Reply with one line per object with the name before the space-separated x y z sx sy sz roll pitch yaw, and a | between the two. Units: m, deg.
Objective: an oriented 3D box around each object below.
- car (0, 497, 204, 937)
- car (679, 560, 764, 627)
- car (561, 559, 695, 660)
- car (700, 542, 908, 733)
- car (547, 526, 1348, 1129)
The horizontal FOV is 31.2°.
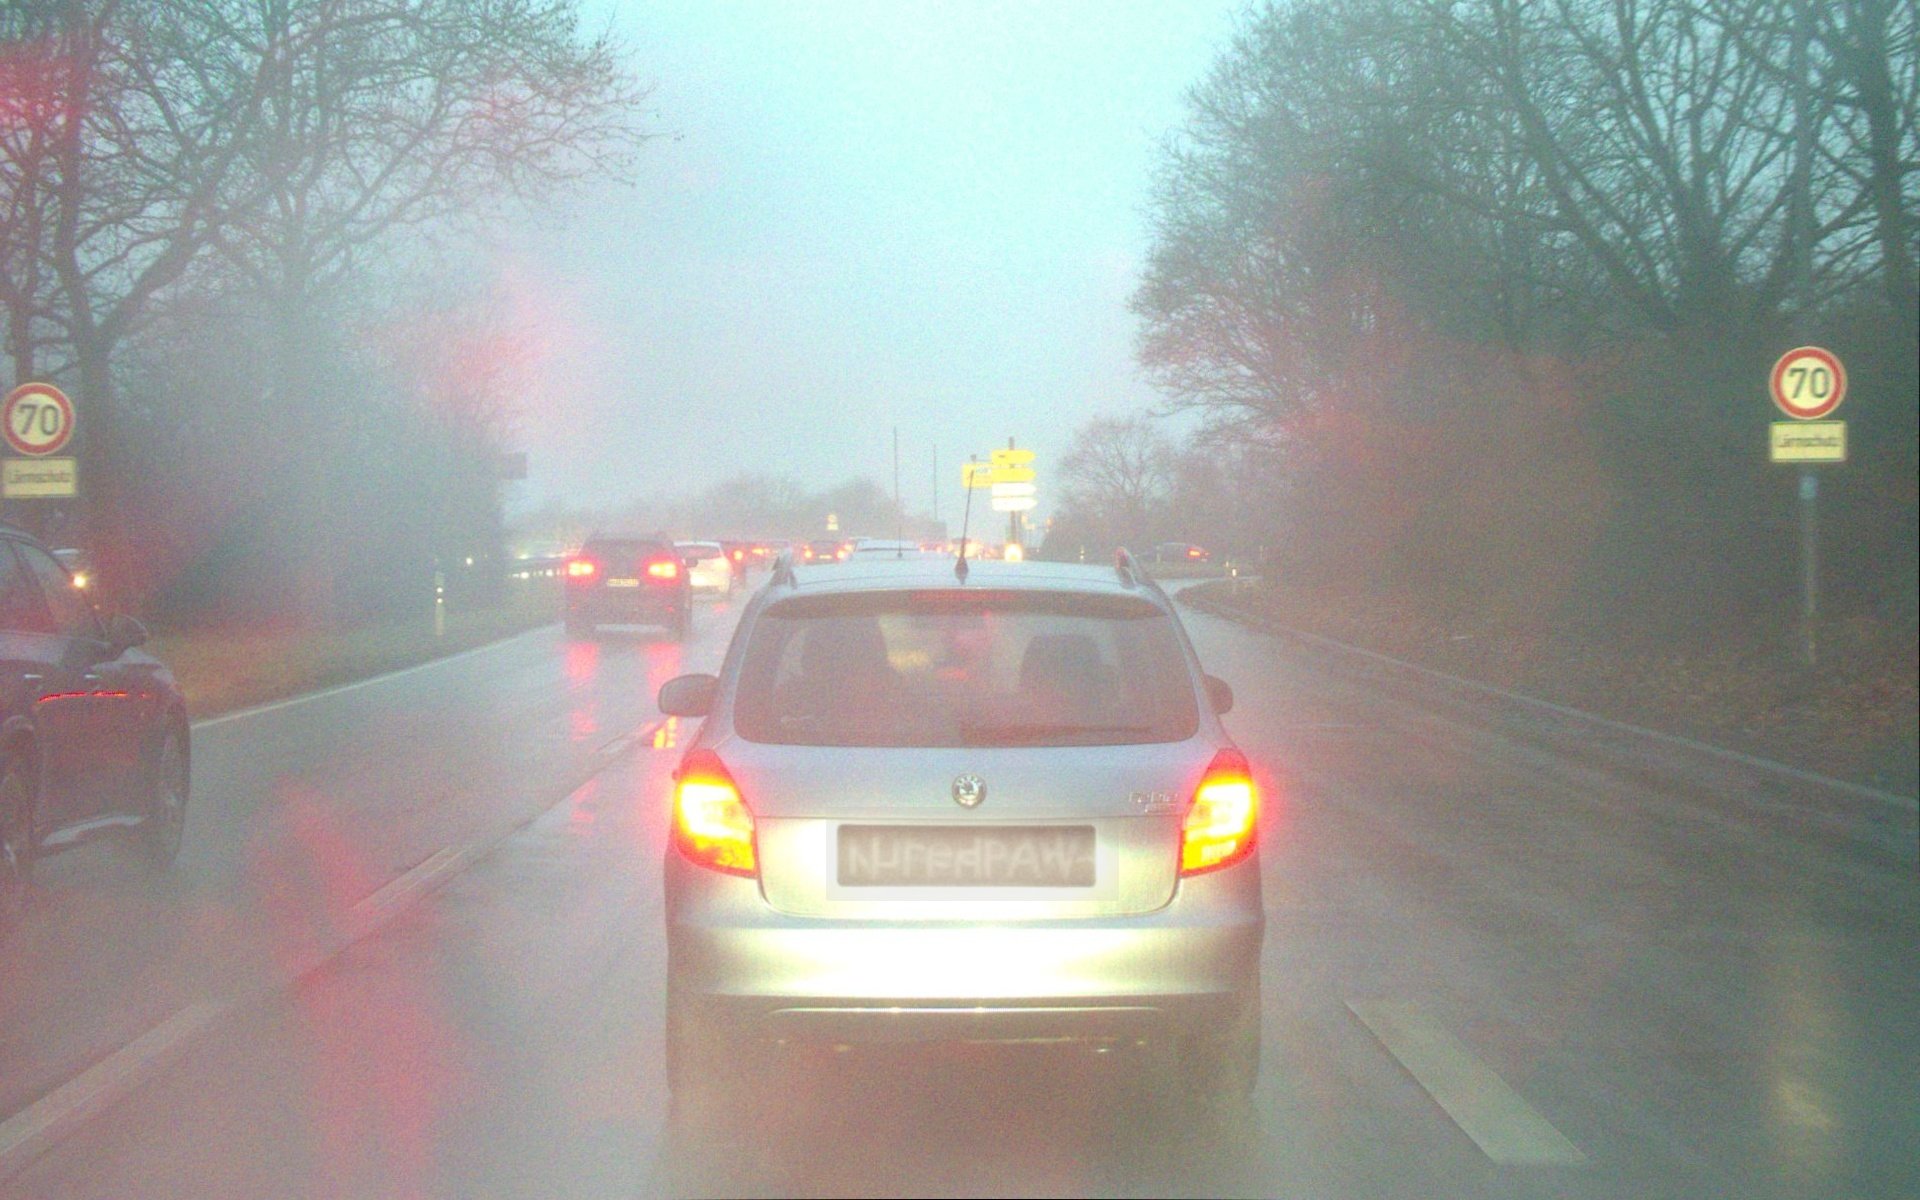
car | -4.531 0.380 14.185 1.993 1.596 4.309 1 1 -2
car | -5.704 -0.173 82.505 1.789 1.540 4.000 -1 1 -1
car | -5.274 0.124 55.076 1.789 1.540 4.000 -1 1 -1
car | -1.475 0.326 34.000 1.897 1.761 4.309 0 1 0
car | -0.048 0.556 10.667 1.993 1.495 4.138 0 0 0
